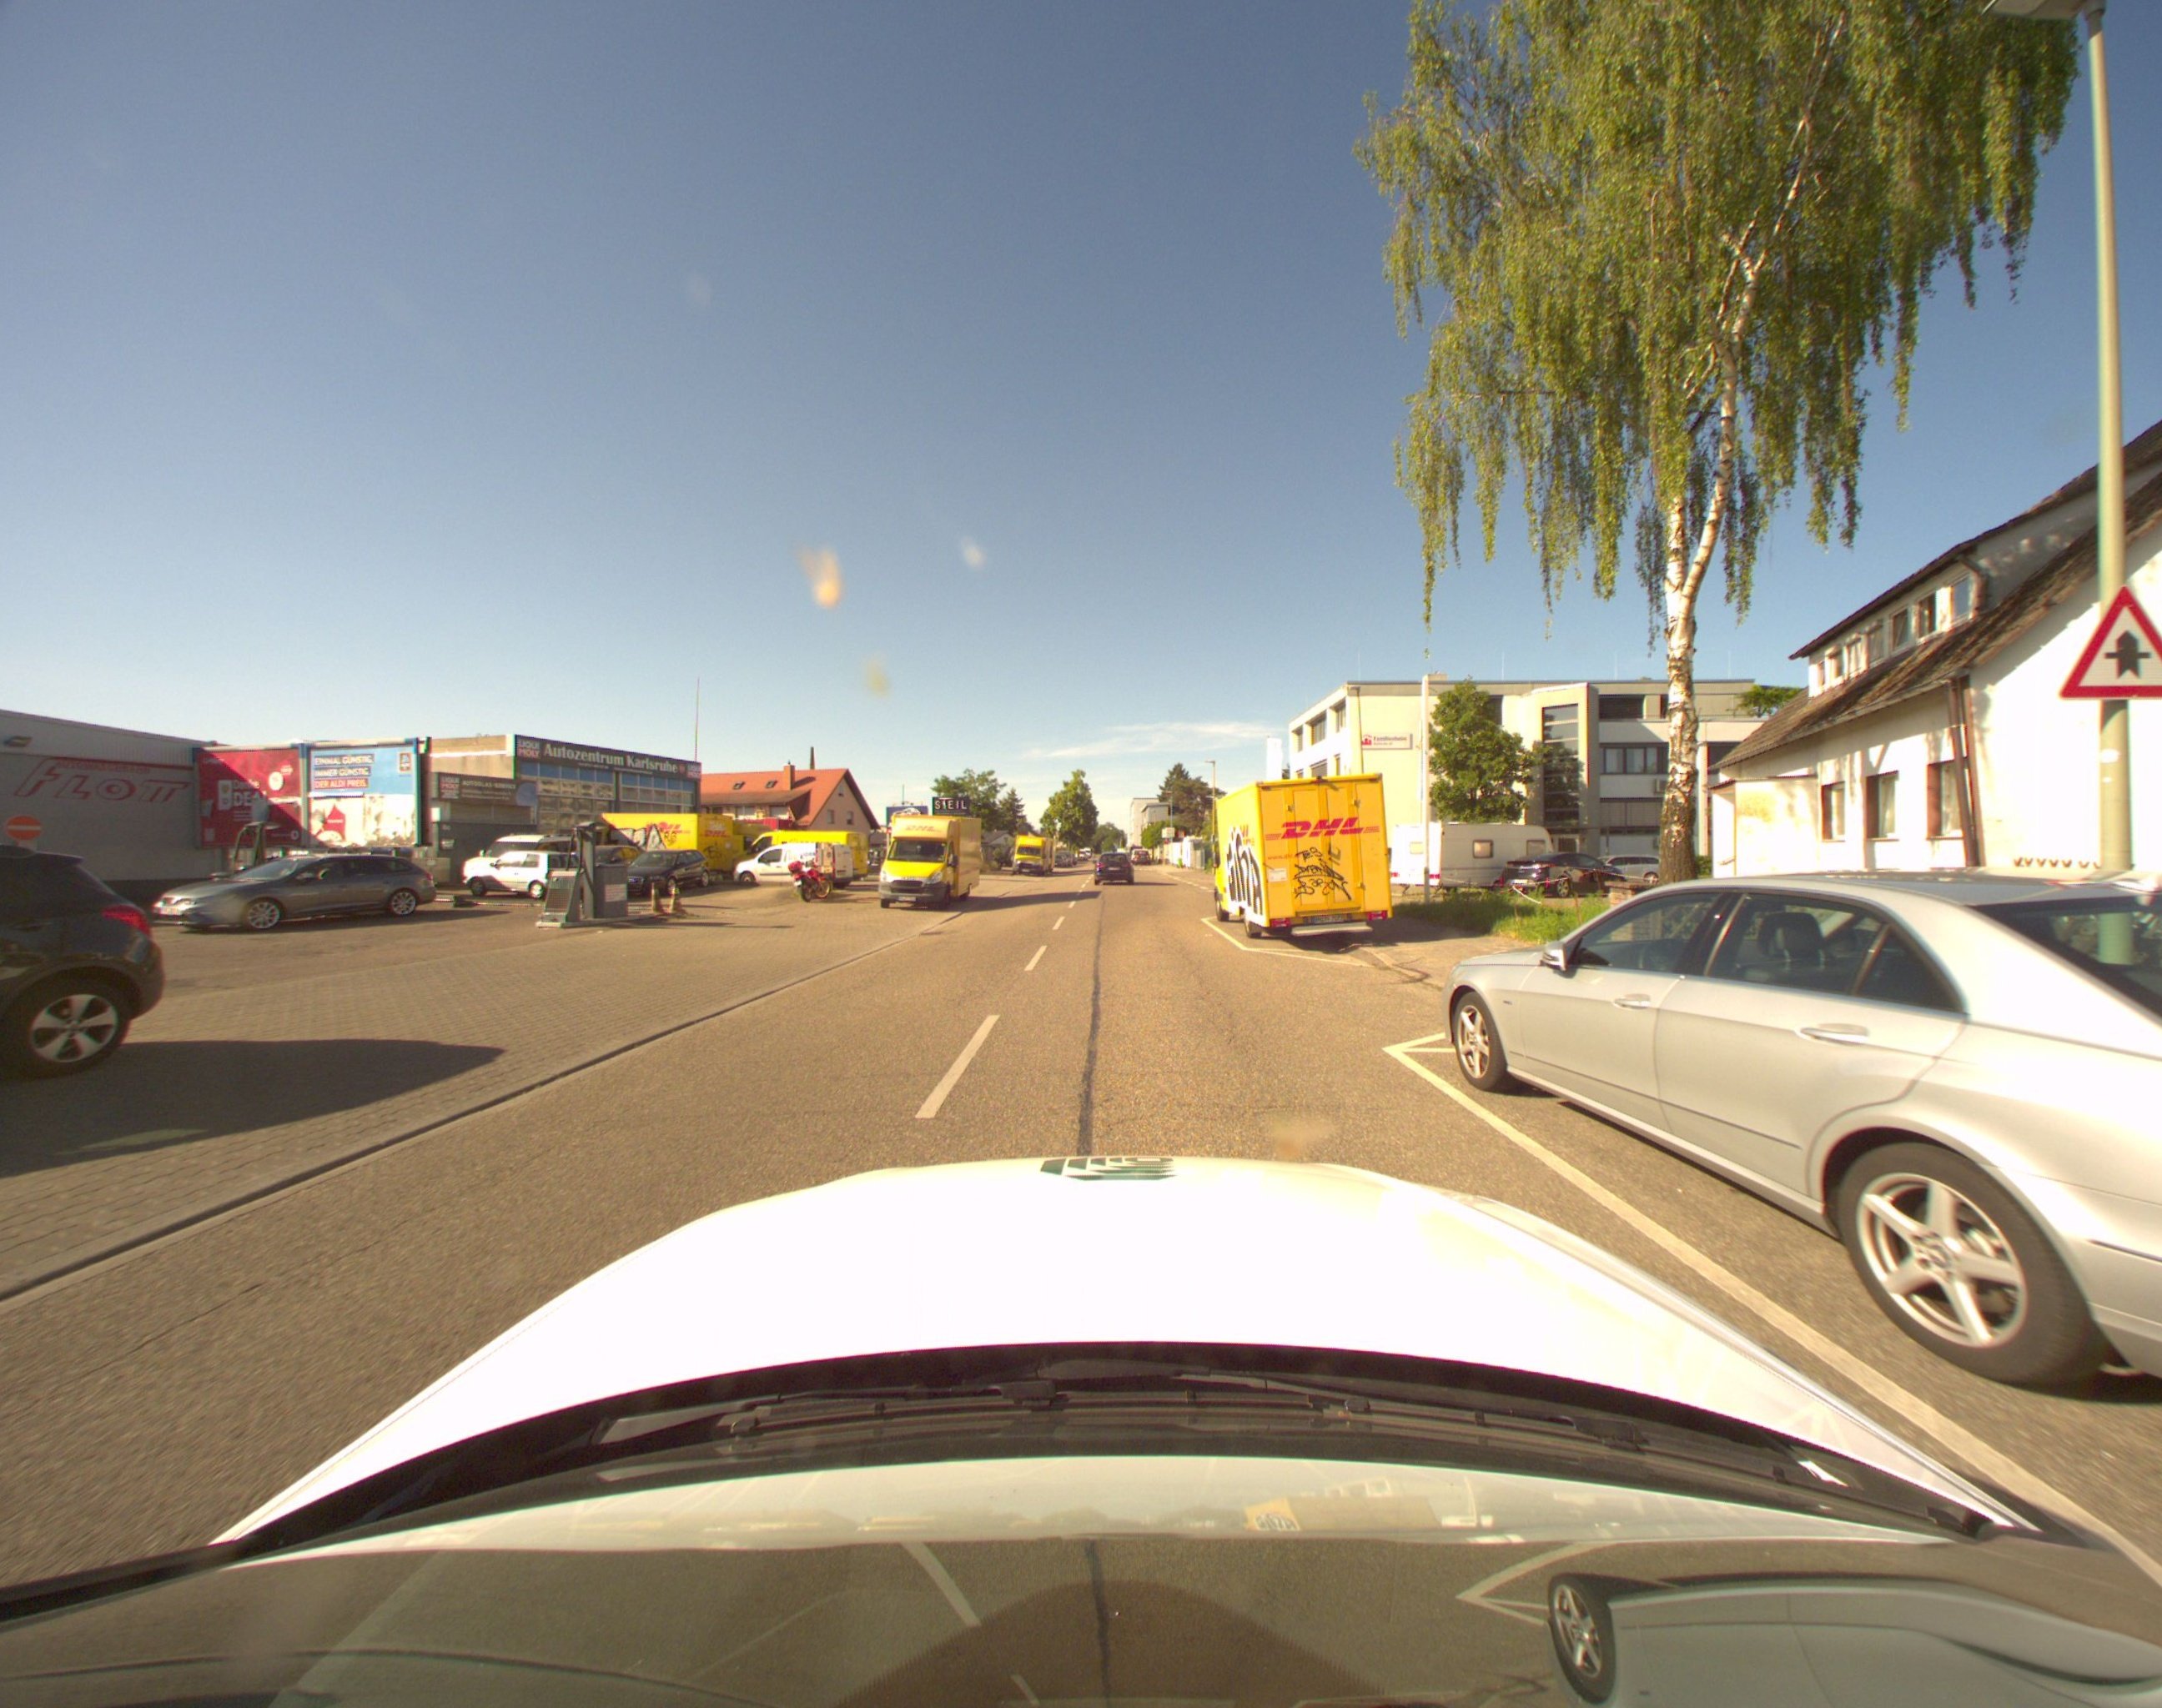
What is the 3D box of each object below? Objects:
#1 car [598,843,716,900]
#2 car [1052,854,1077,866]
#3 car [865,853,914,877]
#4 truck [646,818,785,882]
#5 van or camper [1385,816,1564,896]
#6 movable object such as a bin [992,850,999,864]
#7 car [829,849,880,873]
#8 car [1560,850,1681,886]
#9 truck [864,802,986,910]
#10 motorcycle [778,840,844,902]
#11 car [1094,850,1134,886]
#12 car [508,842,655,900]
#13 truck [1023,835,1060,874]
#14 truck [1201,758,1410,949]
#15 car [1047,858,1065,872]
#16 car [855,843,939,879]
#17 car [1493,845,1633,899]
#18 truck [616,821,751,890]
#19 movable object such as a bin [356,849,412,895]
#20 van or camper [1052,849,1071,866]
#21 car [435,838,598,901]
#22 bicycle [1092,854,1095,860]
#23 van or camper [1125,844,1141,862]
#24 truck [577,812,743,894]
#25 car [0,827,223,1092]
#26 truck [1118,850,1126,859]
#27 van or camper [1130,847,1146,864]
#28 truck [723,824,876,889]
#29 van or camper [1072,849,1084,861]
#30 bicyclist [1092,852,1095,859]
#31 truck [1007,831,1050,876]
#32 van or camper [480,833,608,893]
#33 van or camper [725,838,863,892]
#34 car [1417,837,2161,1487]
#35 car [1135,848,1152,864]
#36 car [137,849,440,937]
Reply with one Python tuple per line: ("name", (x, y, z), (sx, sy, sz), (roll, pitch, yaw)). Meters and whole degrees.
("car", (-14.217, 0.513, 27.603), (1.860, 1.562, 4.211), (0, 4, -2))
("car", (-2.166, 0.771, 103.604), (1.883, 1.485, 4.014), (-2, 1, -22))
("car", (-13.593, 0.757, 58.028), (1.681, 1.578, 4.061), (0, 1, 16))
("truck", (-17.716, -0.184, 39.508), (6.047, 2.972, 2.181), (0, 0, 14))
("van or camper", (13.586, 0.047, 28.103), (5.838, 2.541, 2.273), (0, 0, -23))
("movable object such as a bin", (-8.257, 0.304, 78.225), (0.583, 1.340, 0.550), (0, 0, 2))
("car", (-16.296, 0.469, 58.874), (1.681, 1.661, 4.061), (0, 0, 16))
("car", (25.236, 0.619, 38.211), (4.493, 1.618, 1.801), (0, 0, 2))
("truck", (-4.841, 0.059, 26.686), (2.394, 2.983, 7.246), (1, 0, 1))
("motorcycle", (-8.768, 0.500, 26.608), (0.777, 1.873, 3.046), (3, 1, 6))
("car", (1.546, 0.590, 37.083), (1.704, 1.532, 3.690), (-1, 0, 3))
("car", (-17.122, 0.555, 28.190), (1.979, 1.816, 4.016), (1, 0, 15))
("truck", (-3.116, 0.004, 65.701), (2.183, 2.902, 6.444), (2, 0, 3))
("truck", (4.091, 0.002, 16.485), (2.393, 2.936, 7.019), (-3, 0, 2))
("car", (-2.678, 1.124, 86.713), (1.751, 1.403, 4.557), (0, 0, 0))
("car", (-10.494, 0.402, 46.584), (4.222, 2.013, 1.874), (0, 0, 10))
("car", (15.296, 0.527, 25.852), (4.003, 1.618, 1.798), (0, 0, -22))
("truck", (-17.832, 0.093, 36.603), (5.296, 2.972, 2.181), (0, 0, 14))
("movable object such as a bin", (-22.315, 0.558, 26.096), (0.534, 1.451, 1.305), (0, 0, 13))
("van or camper", (-2.260, 0.449, 96.597), (1.883, 1.926, 4.269), (-1, -1, 3))
("car", (-17.288, 0.467, 25.004), (3.957, 1.816, 2.008), (0, 0, 15))
("bicycle", (2.912, 0.682, 187.484), (0.826, 1.153, 2.940), (0, 0, 1))
("van or camper", (6.798, -0.108, 107.280), (1.986, 2.310, 4.002), (0, 0, 2))
("truck", (-17.151, -0.069, 33.278), (5.629, 3.119, 2.532), (1, 0, 13))
("car", (-8.067, 0.681, 4.556), (1.855, 1.714, 4.277), (3, 0, 1))
("truck", (10.129, 0.108, 201.408), (1.986, 2.287, 6.959), (0, 0, 2))
("van or camper", (7.116, 0.172, 101.958), (1.911, 2.019, 4.082), (0, 0, 2))
("truck", (-12.064, 0.075, 35.048), (5.880, 2.567, 2.232), (1, 0, 13))
("van or camper", (-0.597, 0.215, 167.803), (2.317, 2.362, 6.523), (0, 0, -2))
("bicyclist", (2.886, 0.351, 187.466), (0.693, 1.539, 0.635), (0, 0, 0))
("truck", (-3.666, -0.046, 58.232), (2.393, 2.983, 6.377), (1, 0, 2))
("van or camper", (-19.687, 0.308, 30.084), (1.852, 2.013, 4.004), (2, 0, 4))
("van or camper", (-11.217, 0.422, 32.026), (4.517, 2.013, 2.256), (0, 0, 8))
("car", (3.408, 0.719, 3.736), (1.779, 1.542, 4.535), (0, 0, -1))
("car", (7.359, 0.256, 96.442), (1.911, 1.825, 4.082), (0, 0, 2))
("car", (-16.545, 0.719, 17.362), (1.764, 1.545, 4.312), (0, 1, 13))
